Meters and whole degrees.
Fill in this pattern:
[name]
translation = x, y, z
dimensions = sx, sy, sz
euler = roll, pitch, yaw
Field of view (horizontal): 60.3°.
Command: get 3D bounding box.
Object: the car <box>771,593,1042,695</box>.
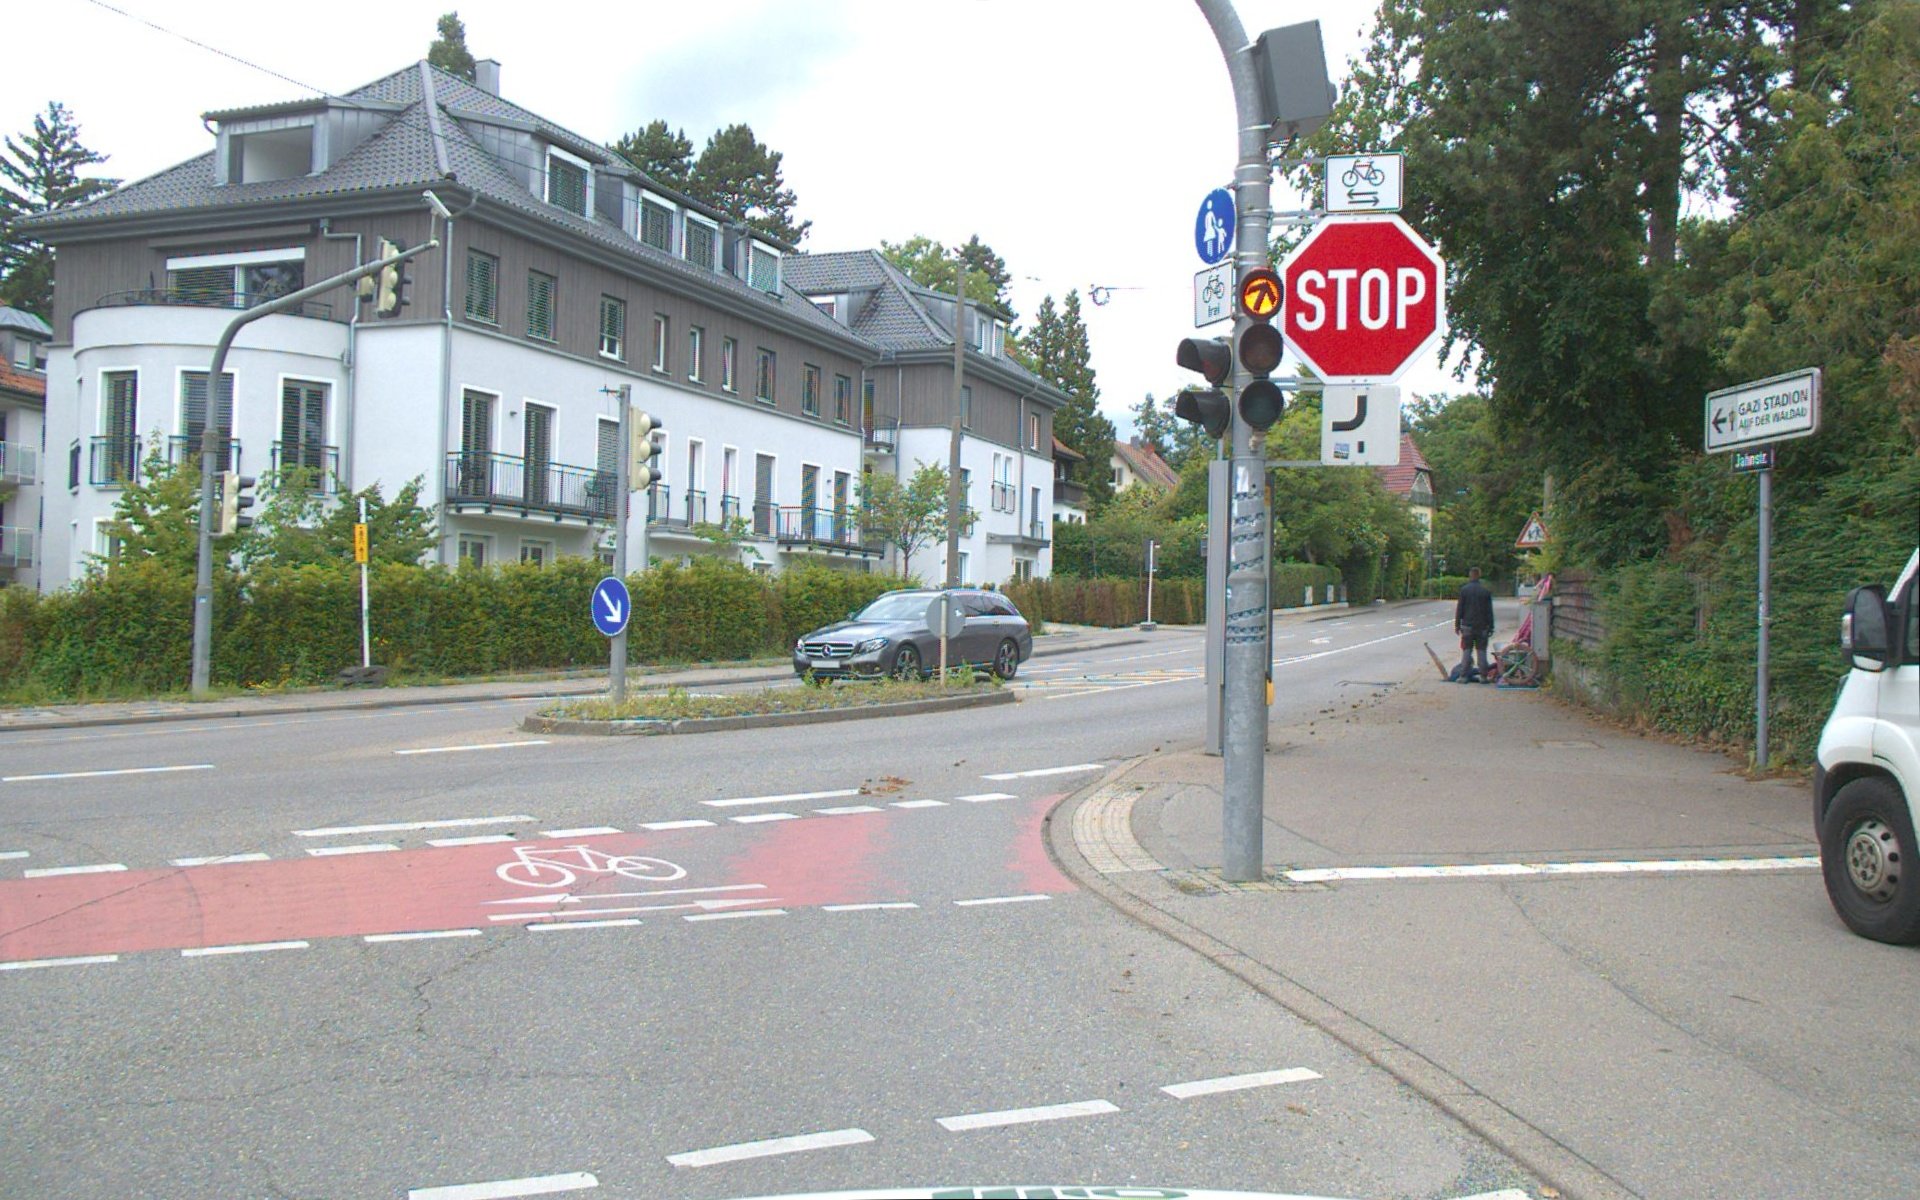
[car]
translation = -0.728, 0.618, 26.105
dimensions = 1.905, 1.428, 4.728
euler = 1, 1, 34

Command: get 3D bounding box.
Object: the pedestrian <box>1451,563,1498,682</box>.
[pedestrian]
translation = 8.529, 0.369, 27.447
dimensions = 0.584, 1.940, 0.558
euler = 1, 0, 0

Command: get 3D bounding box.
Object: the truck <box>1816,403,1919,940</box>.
[truck]
translation = 5.129, 0.319, 5.025
dimensions = 2.162, 2.283, 5.724
euler = 1, 0, 1
